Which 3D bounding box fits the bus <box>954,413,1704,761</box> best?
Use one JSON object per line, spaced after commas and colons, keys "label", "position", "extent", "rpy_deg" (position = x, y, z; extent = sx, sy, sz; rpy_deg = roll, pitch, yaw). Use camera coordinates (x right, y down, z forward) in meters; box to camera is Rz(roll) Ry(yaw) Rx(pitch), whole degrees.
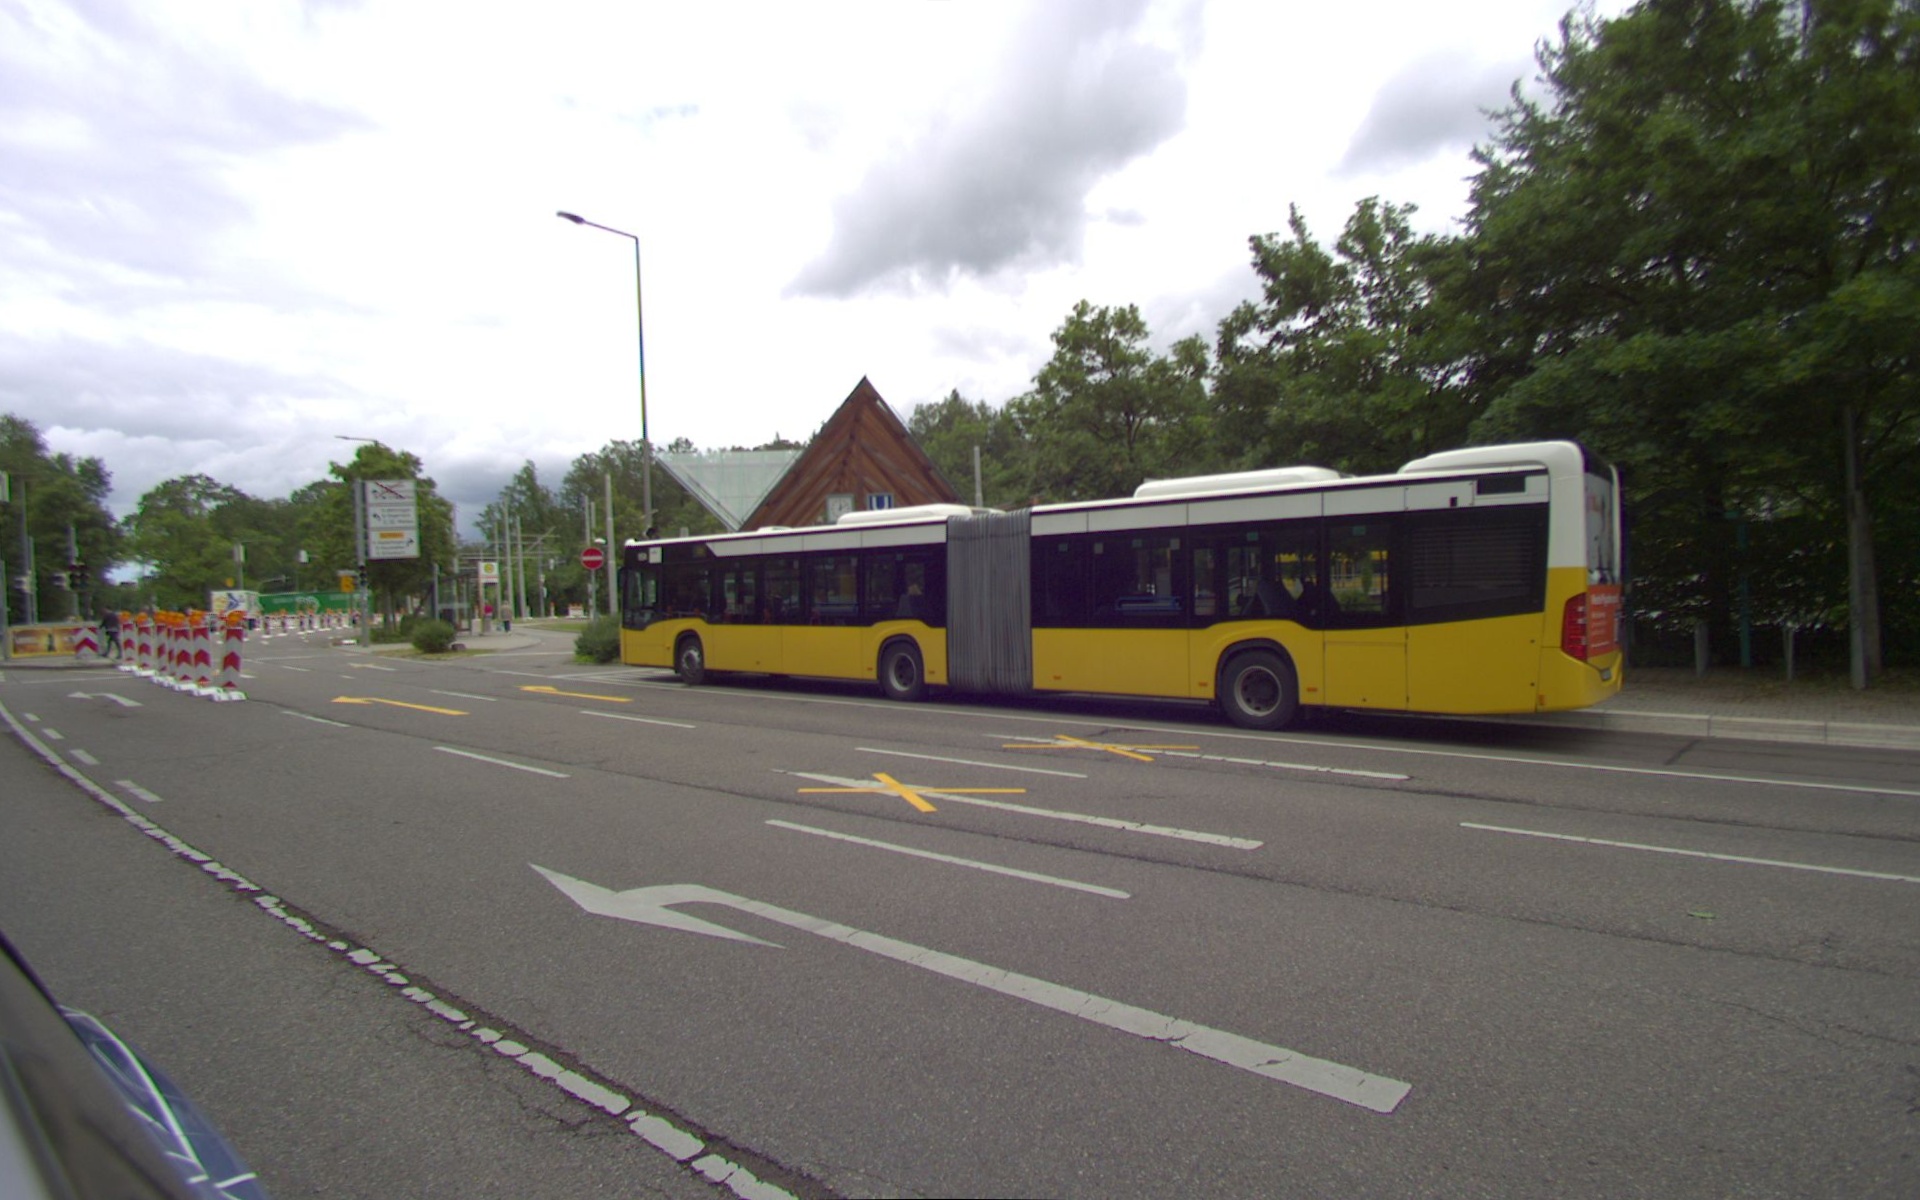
{"label": "bus", "position": [4.120, -0.063, 13.139], "extent": [8.690, 3.150, 2.868], "rpy_deg": [-1, -1, 41]}

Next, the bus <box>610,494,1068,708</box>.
{"label": "bus", "position": [-2.792, 0.078, 19.252], "extent": [9.755, 3.150, 2.868], "rpy_deg": [-1, -1, 41]}

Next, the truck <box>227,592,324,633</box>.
{"label": "truck", "position": [-75.162, 1.365, 111.182], "extent": [8.682, 3.910, 3.774], "rpy_deg": [-3, 1, 12]}

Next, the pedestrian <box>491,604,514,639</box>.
{"label": "pedestrian", "position": [-20.998, 0.985, 46.469], "extent": [0.860, 1.536, 0.770], "rpy_deg": [-3, 1, -21]}

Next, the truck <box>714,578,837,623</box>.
{"label": "truck", "position": [-10.219, 0.031, 55.896], "extent": [6.263, 2.186, 2.587], "rpy_deg": [-3, 1, 24]}

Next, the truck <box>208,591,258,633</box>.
{"label": "truck", "position": [-59.269, 0.971, 82.649], "extent": [2.592, 3.263, 6.225], "rpy_deg": [0, -1, -29]}

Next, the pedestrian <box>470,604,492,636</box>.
{"label": "pedestrian", "position": [-24.389, 1.001, 51.502], "extent": [0.779, 1.563, 0.777], "rpy_deg": [-3, 1, -38]}

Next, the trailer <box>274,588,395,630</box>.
{"label": "trailer", "position": [-67.603, 0.992, 109.442], "extent": [11.747, 3.910, 3.774], "rpy_deg": [-3, 1, 12]}

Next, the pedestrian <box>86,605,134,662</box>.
{"label": "pedestrian", "position": [-28.412, 1.119, 33.845], "extent": [0.764, 1.822, 0.984], "rpy_deg": [-3, 1, 33]}
